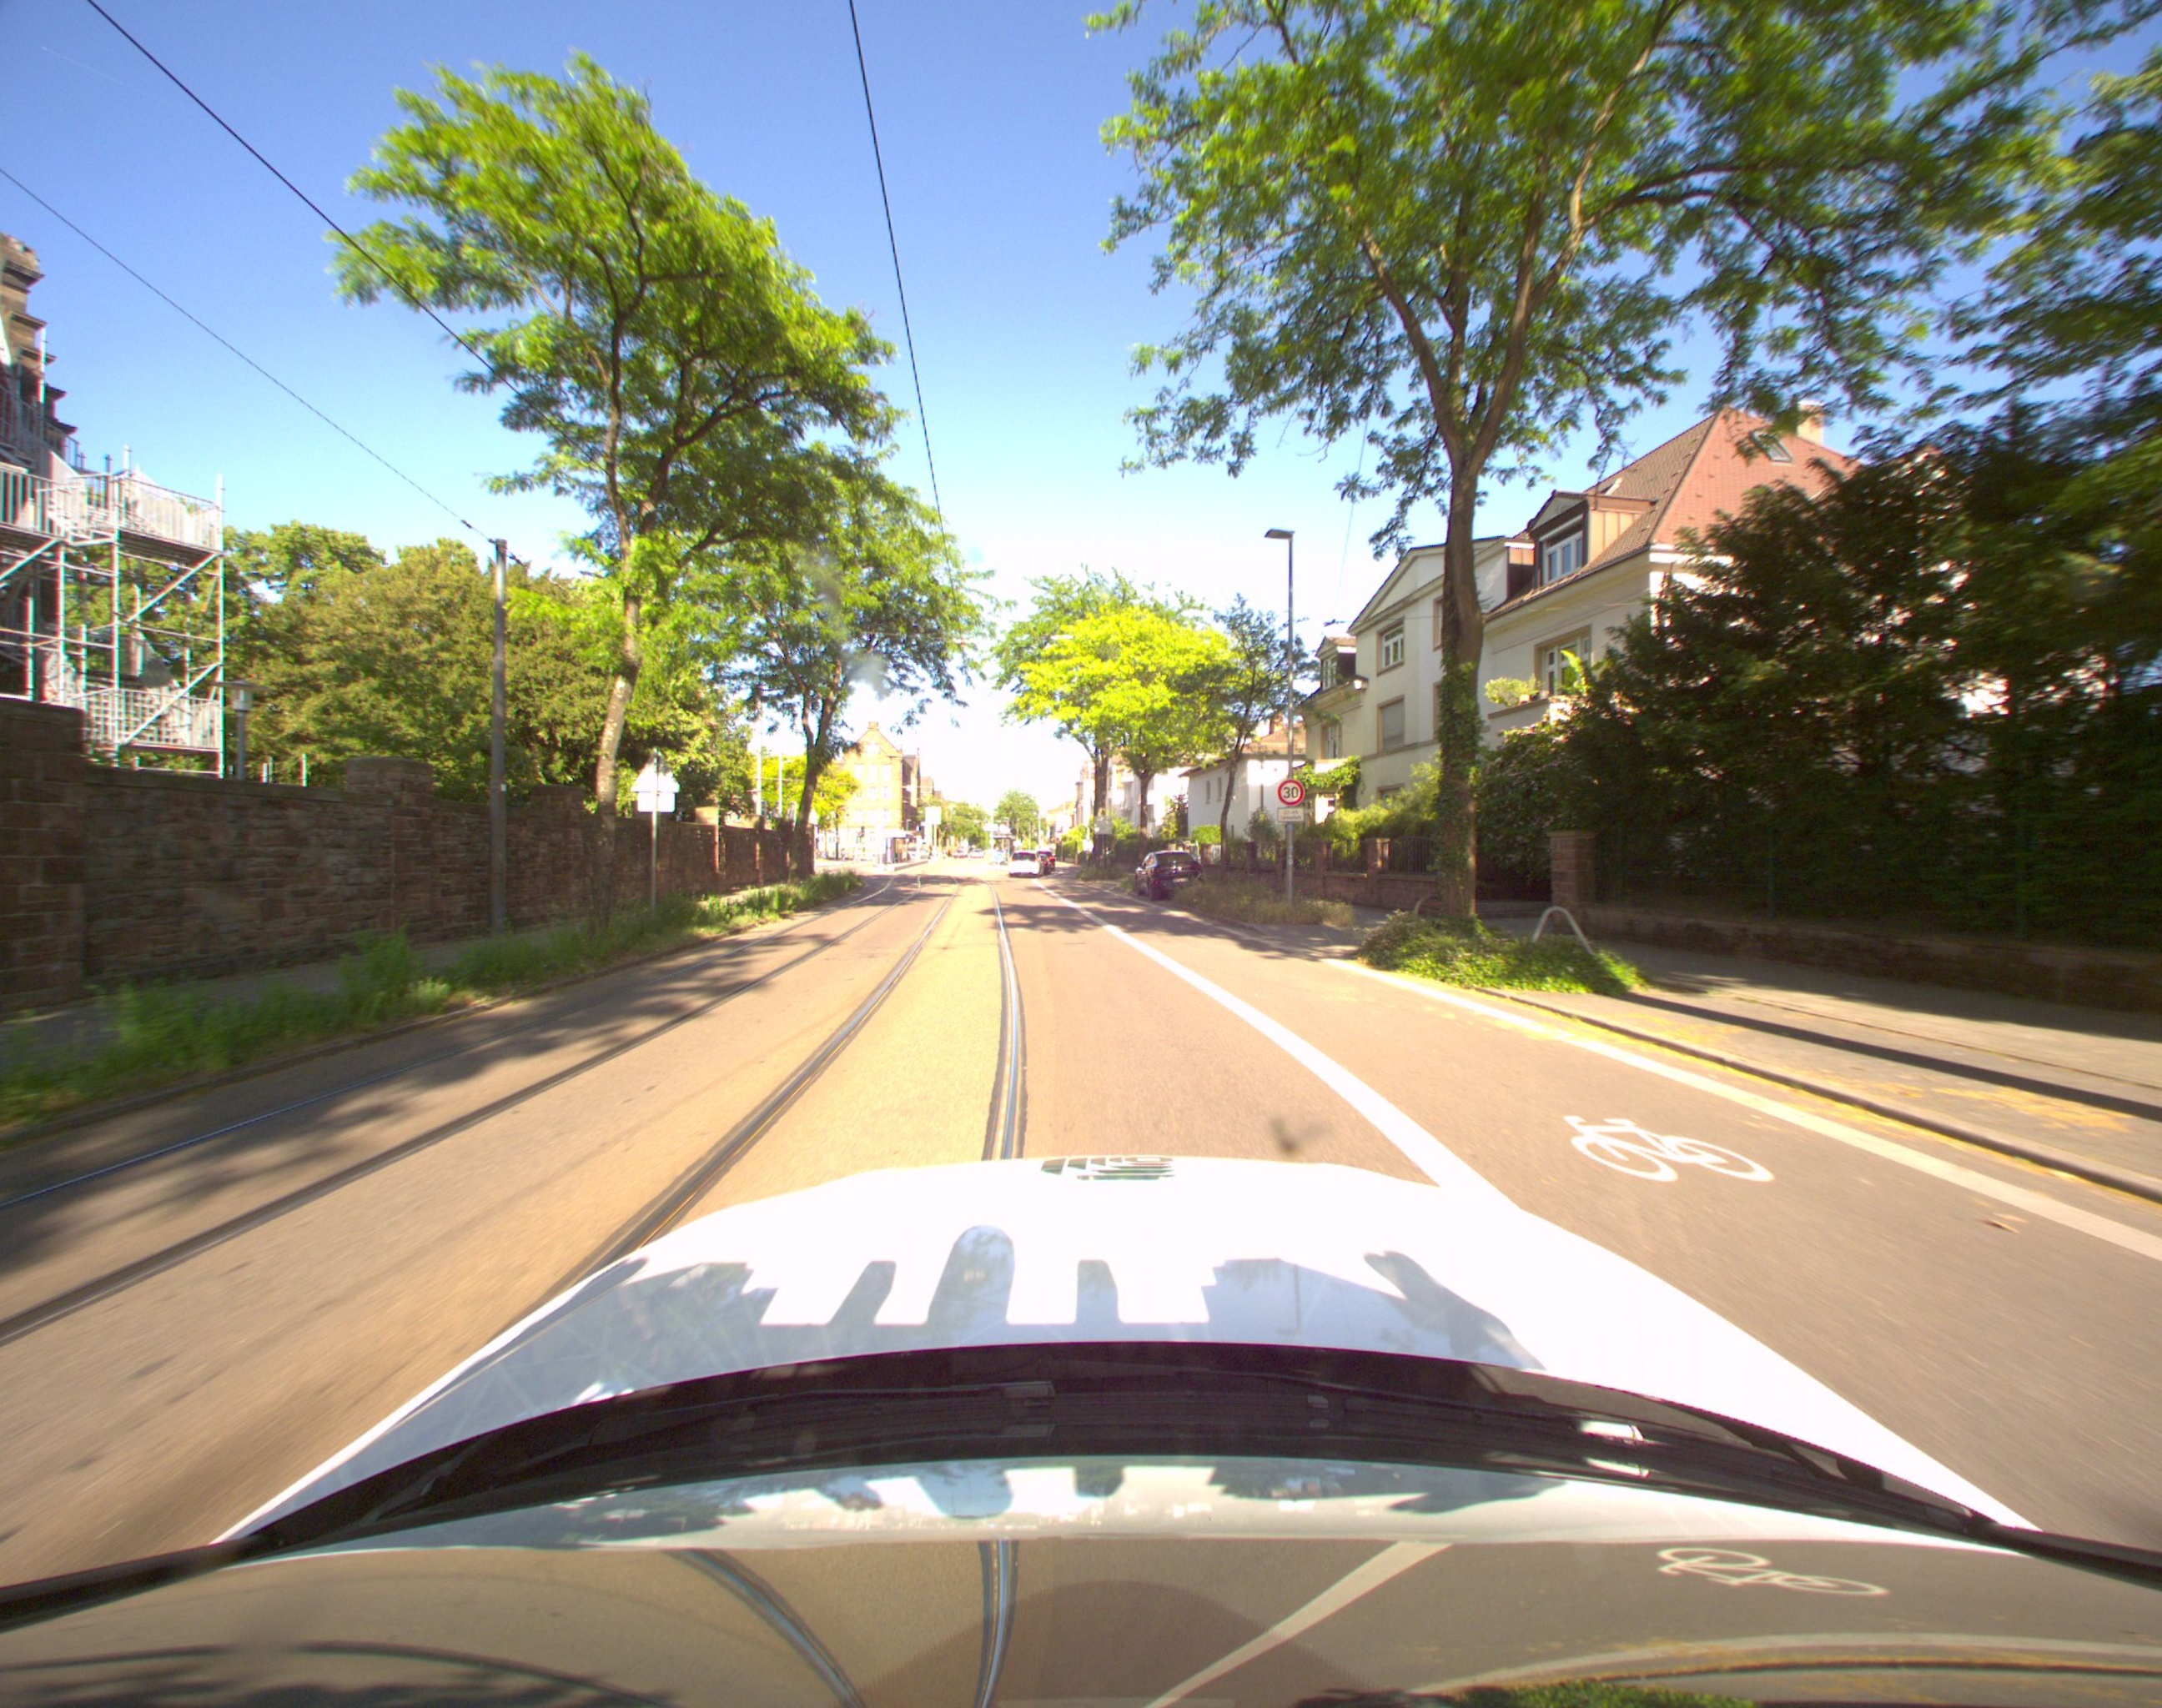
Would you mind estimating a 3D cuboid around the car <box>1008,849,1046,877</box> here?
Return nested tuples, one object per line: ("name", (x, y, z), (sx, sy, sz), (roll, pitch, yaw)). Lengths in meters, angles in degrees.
("car", (-3.245, 0.588, 49.619), (1.885, 1.611, 4.230), (0, -2, 2))

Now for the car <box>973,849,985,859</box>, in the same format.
("car", (-18.507, 0.003, 148.436), (1.990, 1.913, 3.993), (0, 0, -5))

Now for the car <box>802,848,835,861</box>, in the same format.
("car", (-35.387, 0.085, 109.923), (3.988, 1.790, 1.993), (0, 0, -11))

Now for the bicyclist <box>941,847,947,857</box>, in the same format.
("bicyclist", (-24.151, -0.379, 143.636), (0.942, 1.734, 0.859), (0, 0, -7))

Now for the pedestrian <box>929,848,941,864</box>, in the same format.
("pedestrian", (-18.406, 0.288, 102.447), (1.147, 2.013, 1.124), (-1, 0, 13))

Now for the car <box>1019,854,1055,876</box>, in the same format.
("car", (-3.019, 0.719, 56.591), (1.985, 1.442, 4.004), (0, 0, 3))

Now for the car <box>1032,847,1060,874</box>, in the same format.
("car", (-2.681, 0.445, 62.769), (1.701, 2.013, 3.910), (0, 0, 4))

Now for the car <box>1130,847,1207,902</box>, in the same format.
("car", (3.004, 0.675, 29.071), (1.801, 1.694, 4.721), (-3, 0, -5))

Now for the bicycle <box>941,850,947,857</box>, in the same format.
("bicycle", (-24.133, -0.052, 143.348), (0.821, 1.297, 2.671), (0, 0, -7))
